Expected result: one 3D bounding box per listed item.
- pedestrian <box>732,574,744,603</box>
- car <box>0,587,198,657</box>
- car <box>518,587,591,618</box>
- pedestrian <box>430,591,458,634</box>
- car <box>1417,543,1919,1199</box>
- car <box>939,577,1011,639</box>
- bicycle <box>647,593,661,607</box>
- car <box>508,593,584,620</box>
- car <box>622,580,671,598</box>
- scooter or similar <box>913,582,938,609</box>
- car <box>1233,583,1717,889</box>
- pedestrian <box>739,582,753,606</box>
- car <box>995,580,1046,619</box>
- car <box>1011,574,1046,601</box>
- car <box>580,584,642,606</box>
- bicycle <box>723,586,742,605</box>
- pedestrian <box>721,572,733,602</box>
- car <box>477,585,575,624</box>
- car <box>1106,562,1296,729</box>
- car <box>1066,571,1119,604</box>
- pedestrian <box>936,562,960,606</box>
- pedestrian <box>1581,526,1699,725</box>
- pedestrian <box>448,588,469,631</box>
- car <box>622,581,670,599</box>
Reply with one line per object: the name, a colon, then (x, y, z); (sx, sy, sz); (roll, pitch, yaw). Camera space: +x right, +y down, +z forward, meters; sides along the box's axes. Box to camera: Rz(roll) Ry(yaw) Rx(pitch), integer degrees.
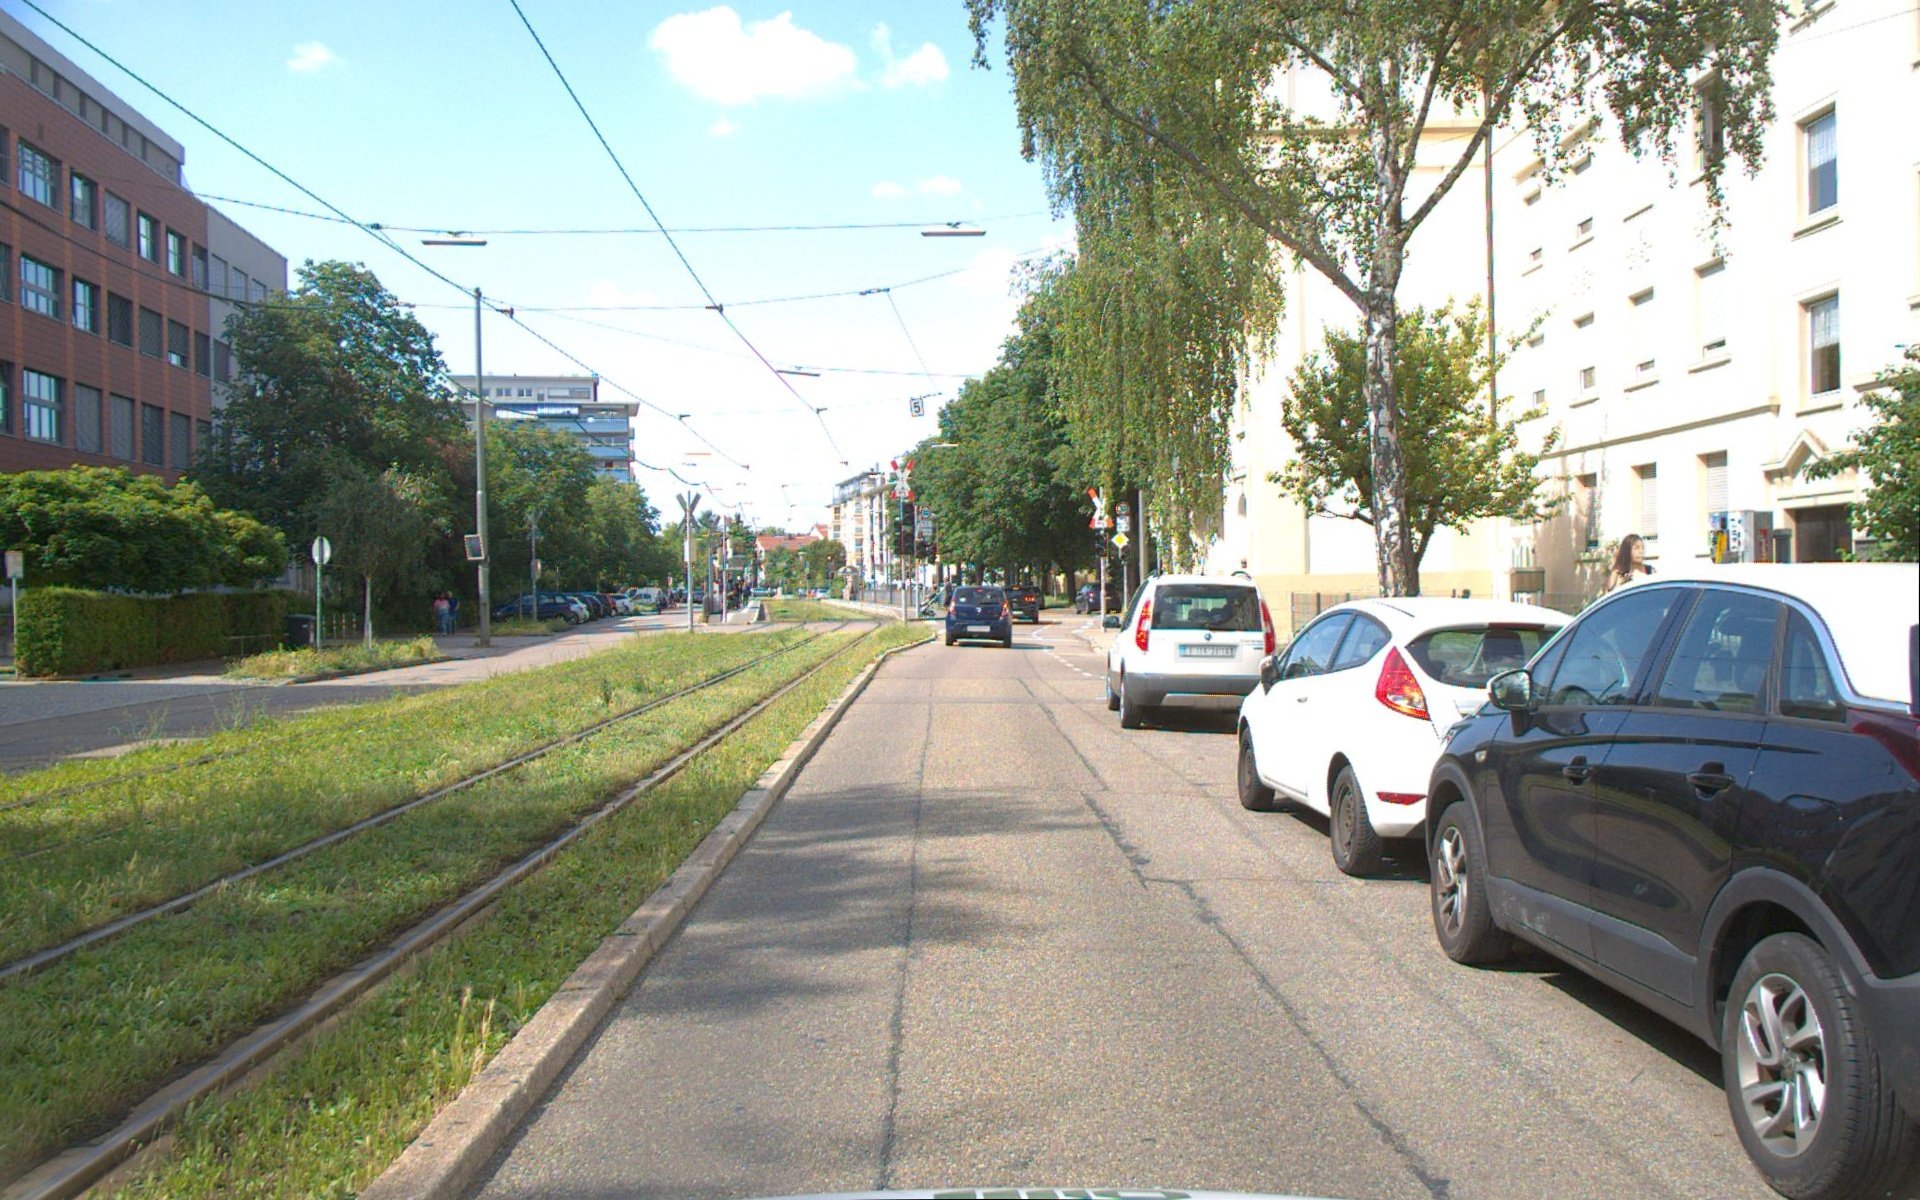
pedestrian: (-13.784, -0.731, 102.697); (0.591, 1.796, 0.639); (-1, 1, 3)
car: (-21.629, 0.529, 41.644); (3.908, 1.624, 1.999); (-1, 1, -4)
car: (-20.903, 0.122, 85.371); (3.364, 1.531, 1.519); (-2, 1, -44)
pedestrian: (-19.574, 0.472, 62.733); (0.730, 1.601, 0.889); (-1, -1, 2)
car: (2.766, 0.666, 5.256); (1.463, 1.606, 3.758); (1, 1, -2)
car: (0.394, 0.180, 42.765); (1.731, 1.487, 3.776); (1, 1, 1)
bicycle: (-22.094, 0.015, 119.498); (0.667, 0.987, 2.178); (-2, 1, -2)
car: (-20.532, 0.314, 82.069); (1.518, 1.258, 3.366); (-1, 1, 44)
car: (-27.701, -0.975, 146.052); (3.965, 1.472, 1.702); (-2, 1, -41)
scooter or similar: (-1.459, -0.179, 70.219); (0.936, 1.083, 0.796); (-3, 1, -7)
car: (2.832, 0.649, 9.970); (1.639, 1.441, 3.794); (2, 1, -1)
pedestrian: (-13.344, -0.371, 103.232); (0.642, 1.450, 0.562); (-2, 1, 31)
car: (2.314, -0.025, 63.685); (1.666, 1.391, 3.513); (2, 1, -2)
car: (4.061, -0.778, 98.410); (1.823, 1.470, 3.999); (-3, 1, -1)
car: (-24.383, -0.365, 115.675); (1.686, 1.391, 3.976); (-1, 1, 42)
bicycle: (-12.444, -0.245, 90.553); (0.672, 0.991, 1.772); (-4, 1, 4)
pedestrian: (-13.706, -0.773, 97.234); (0.642, 1.722, 0.655); (-2, 1, -6)
car: (-20.013, 0.194, 76.435); (1.696, 1.669, 4.105); (-1, 1, 44)
car: (2.622, 0.440, 18.791); (1.685, 1.658, 4.001); (1, 1, 2)
car: (6.211, -0.579, 77.955); (1.732, 1.458, 3.898); (-2, 1, -7)
pedestrian: (-0.514, -0.665, 70.544); (0.854, 1.806, 1.002); (-4, 1, -5)
pedestrian: (6.121, 0.219, 14.922); (0.715, 1.712, 0.691); (-3, 1, 2)
pedestrian: (-19.787, 0.370, 65.317); (0.545, 1.686, 0.747); (-1, 0, 2)
car: (-26.695, -0.886, 140.751); (1.608, 1.410, 3.982); (-1, 1, 38)
